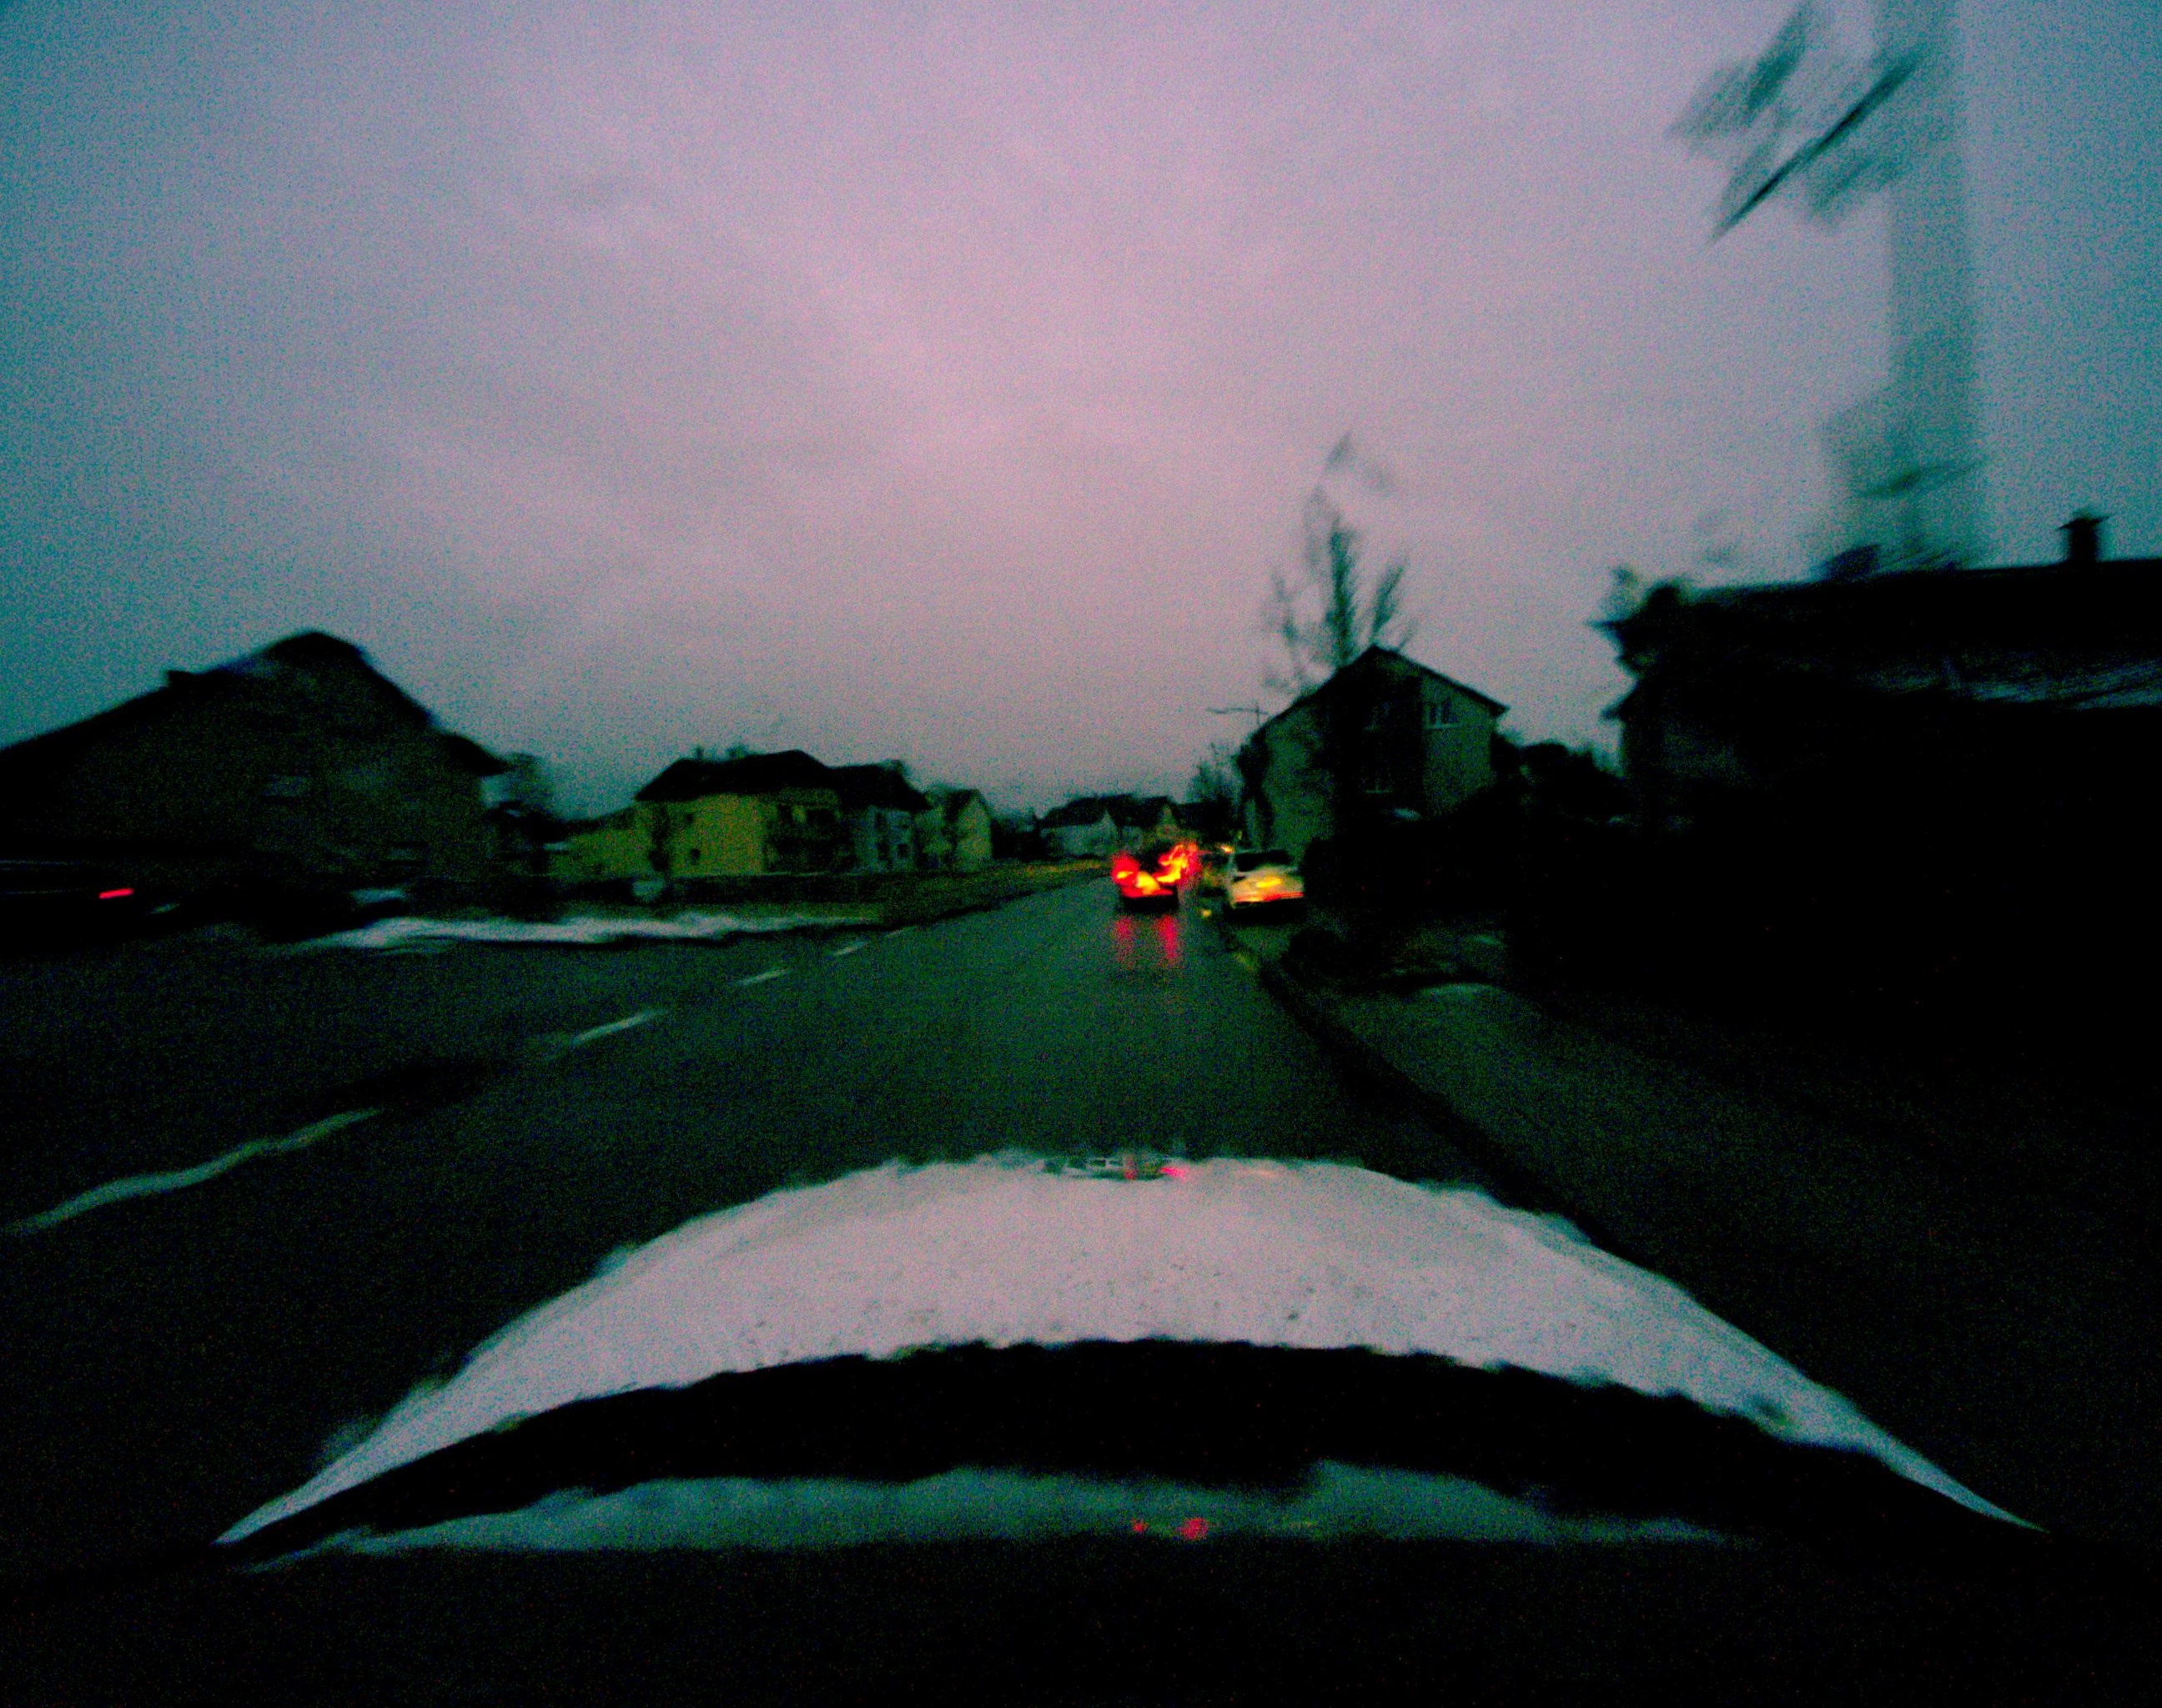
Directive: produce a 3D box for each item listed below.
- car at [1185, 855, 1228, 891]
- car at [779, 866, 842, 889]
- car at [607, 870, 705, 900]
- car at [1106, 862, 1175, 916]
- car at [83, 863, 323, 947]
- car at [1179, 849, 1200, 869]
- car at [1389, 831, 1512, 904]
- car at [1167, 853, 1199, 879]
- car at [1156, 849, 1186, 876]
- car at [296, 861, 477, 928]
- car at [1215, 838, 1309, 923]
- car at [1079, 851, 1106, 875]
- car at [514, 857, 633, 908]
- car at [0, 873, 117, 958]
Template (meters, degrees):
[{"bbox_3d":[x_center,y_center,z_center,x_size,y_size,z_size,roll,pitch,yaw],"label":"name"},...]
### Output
[{"bbox_3d":[6.271,0.985,40.356,1.981,1.670,4.011,-1,-2,10],"label":"car"},{"bbox_3d":[-17.420,1.491,52.663,1.979,1.307,4.128,0,0,14],"label":"car"},{"bbox_3d":[-20.609,1.454,39.664,1.979,1.307,4.128,0,0,14],"label":"car"},{"bbox_3d":[1.932,1.033,25.602,1.983,1.525,4.006,-1,-1,6],"label":"car"},{"bbox_3d":[-23.558,1.282,22.098,1.905,2.013,4.012,-1,0,11],"label":"car"},{"bbox_3d":[11.803,0.560,88.527,1.980,2.014,4.013,-1,-1,12],"label":"car"},{"bbox_3d":[9.076,0.287,20.403,1.955,1.583,4.351,-2,0,13],"label":"car"},{"bbox_3d":[6.949,0.782,55.163,1.982,1.679,4.010,0,0,9],"label":"car"},{"bbox_3d":[7.018,0.683,63.260,1.981,2.014,4.010,-1,-1,9],"label":"car"},{"bbox_3d":[-22.921,1.265,27.127,1.981,2.013,4.235,-1,0,11],"label":"car"},{"bbox_3d":[4.380,0.571,20.317,1.736,1.785,4.344,-4,0,6],"label":"car"},{"bbox_3d":[1.042,0.804,72.023,1.984,2.014,4.006,-1,-1,5],"label":"car"},{"bbox_3d":[-21.333,1.140,34.439,1.979,2.013,4.015,0,0,14],"label":"car"},{"bbox_3d":[-19.622,1.110,14.145,1.390,1.438,4.317,0,0,-13],"label":"car"}]
